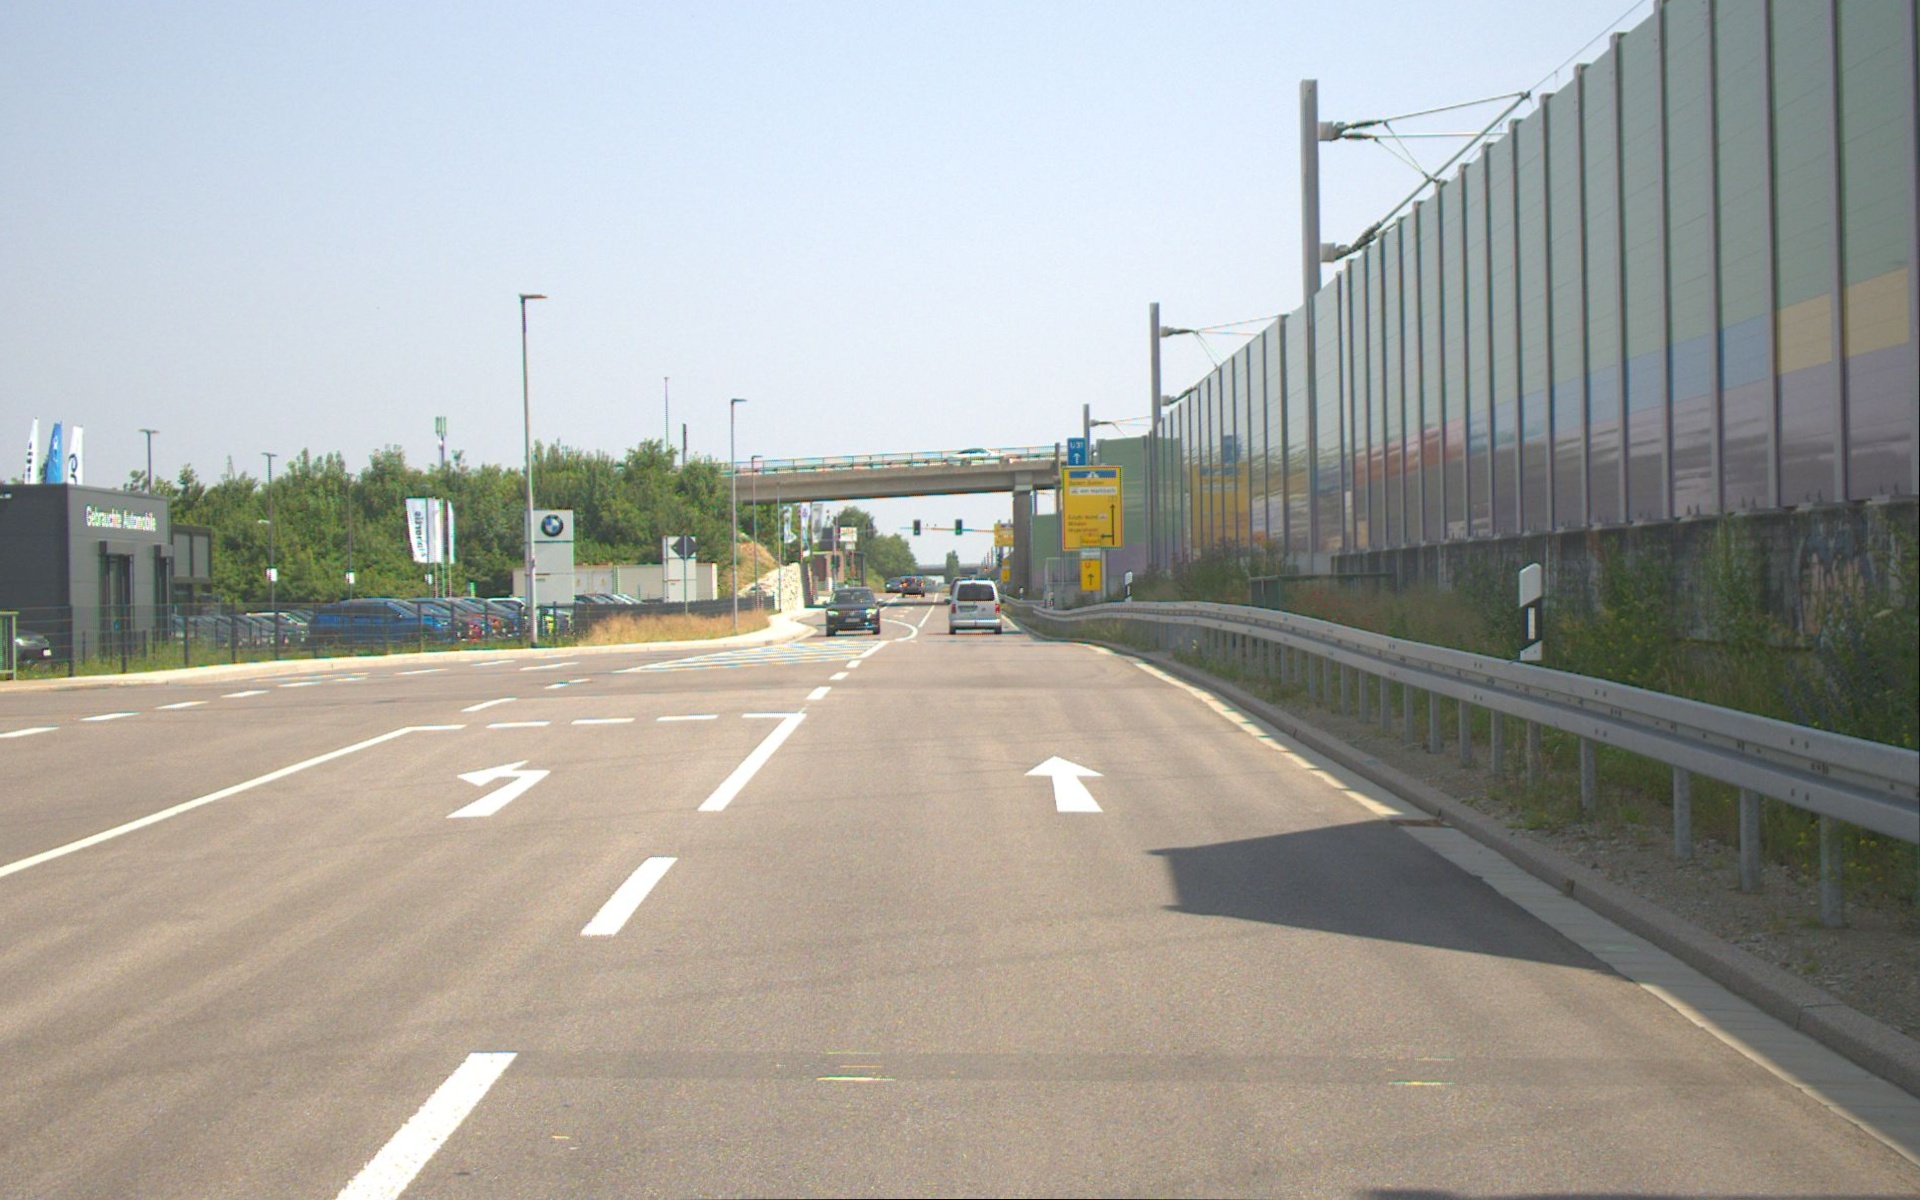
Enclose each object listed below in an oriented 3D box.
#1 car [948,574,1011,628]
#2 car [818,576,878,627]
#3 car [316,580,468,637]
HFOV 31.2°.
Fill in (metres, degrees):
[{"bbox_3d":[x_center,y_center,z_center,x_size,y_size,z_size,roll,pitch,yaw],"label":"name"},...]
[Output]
[{"bbox_3d":[0.680,0.021,114.949,1.993,1.751,4.000,-1,0,2],"label":"car"},{"bbox_3d":[-3.827,0.035,118.405,1.877,1.667,4.291,-1,1,0],"label":"car"},{"bbox_3d":[-16.016,0.232,97.051,3.987,1.475,1.911,-2,1,-1],"label":"car"}]
